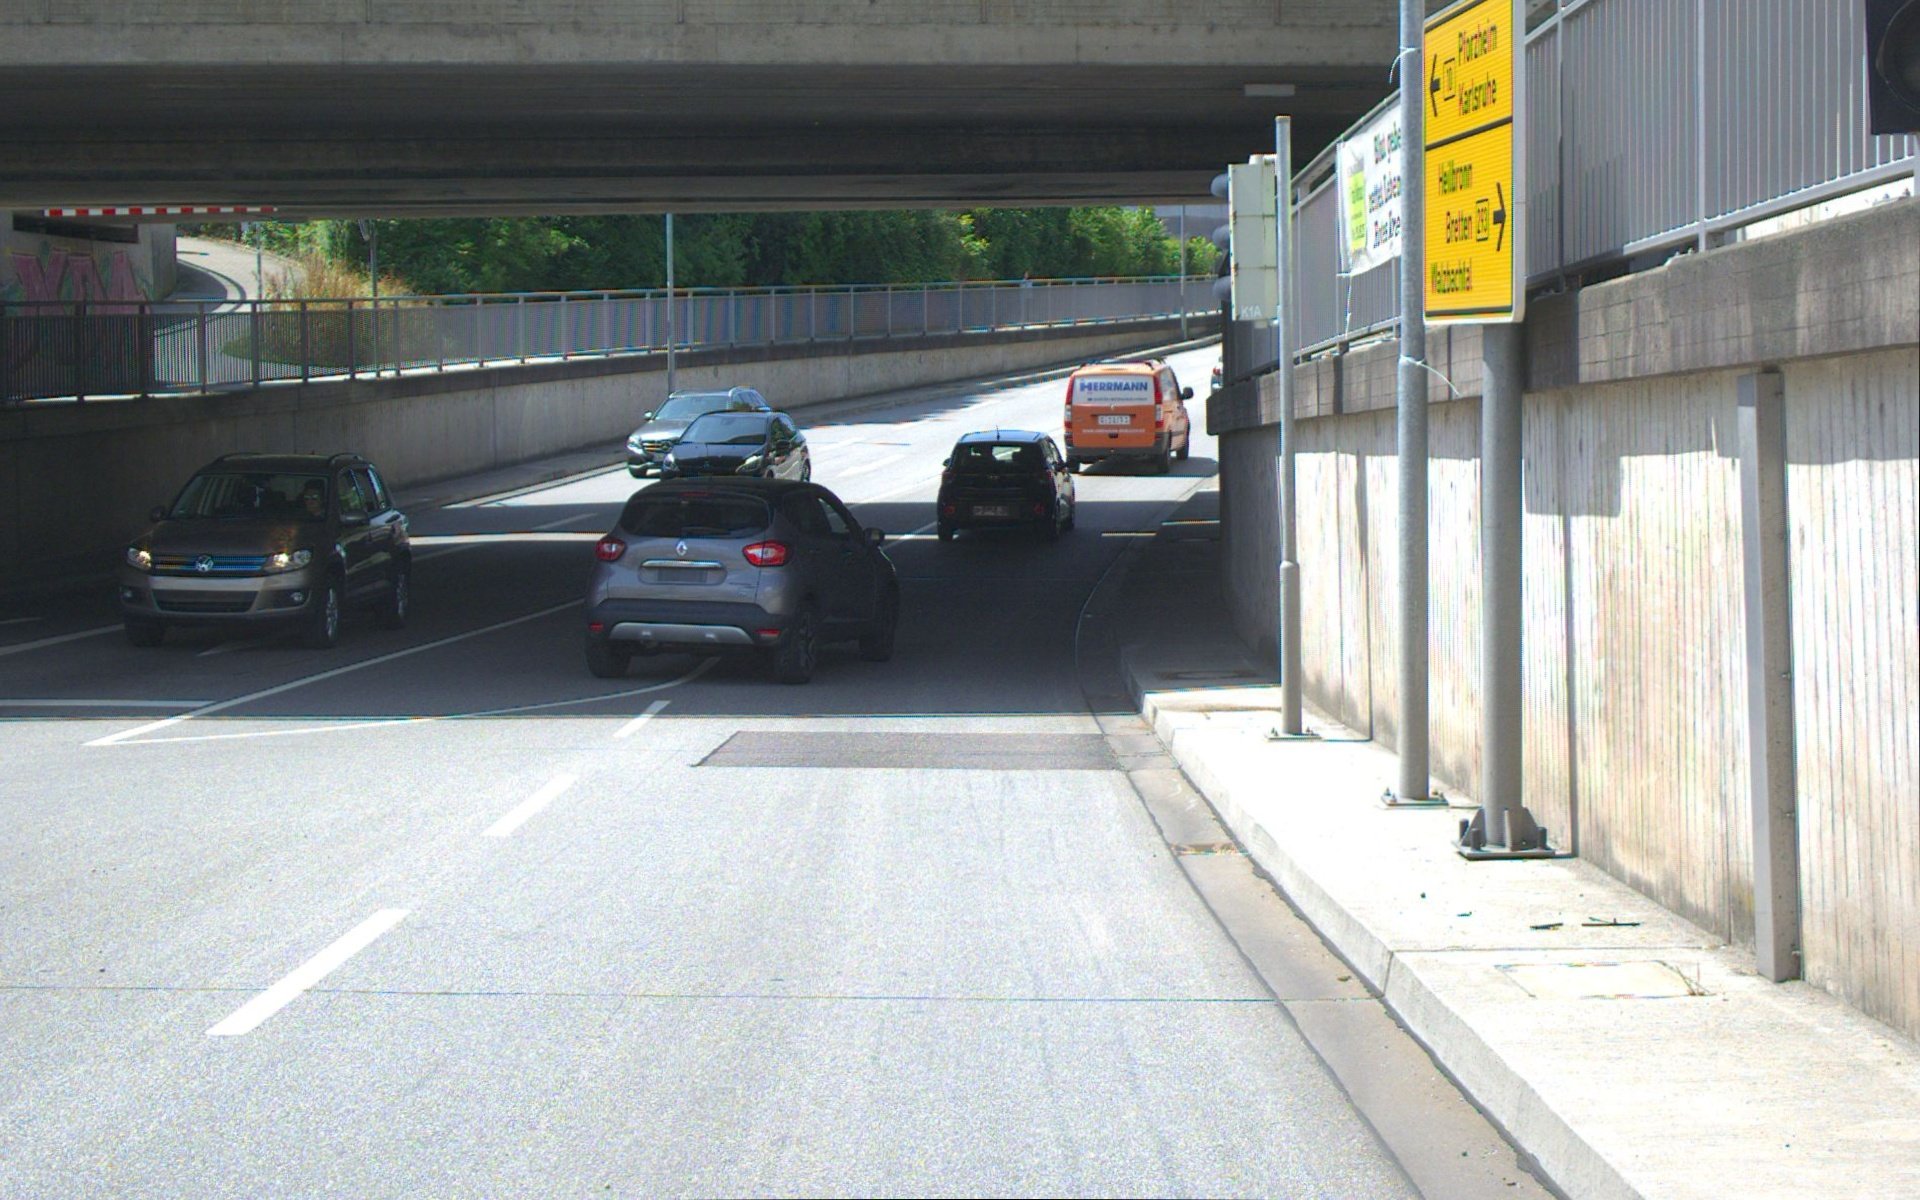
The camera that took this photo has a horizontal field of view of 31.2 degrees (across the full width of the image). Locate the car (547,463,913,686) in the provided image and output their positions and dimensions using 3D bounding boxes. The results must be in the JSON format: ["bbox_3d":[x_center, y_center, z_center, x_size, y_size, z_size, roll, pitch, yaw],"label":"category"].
[{"bbox_3d":[-1.777,-0.275,27.940,1.994,1.583,3.999,1,3,11],"label":"car"}]

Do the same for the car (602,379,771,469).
[{"bbox_3d":[-4.927,-3.214,62.460,1.994,1.583,3.999,1,3,12],"label":"car"}]

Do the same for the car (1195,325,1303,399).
[{"bbox_3d":[6.537,-5.345,77.441,1.805,1.612,3.998,1,3,14],"label":"car"}]

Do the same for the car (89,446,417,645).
[{"bbox_3d":[-6.296,-0.550,31.078,1.993,1.621,4.001,0,3,2],"label":"car"}]

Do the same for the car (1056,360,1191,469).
[{"bbox_3d":[3.031,-3.415,63.027,1.873,1.925,4.718,1,3,10],"label":"car"}]

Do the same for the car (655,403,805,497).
[{"bbox_3d":[-3.614,-2.421,54.711,1.782,1.431,4.000,0,3,5],"label":"car"}]

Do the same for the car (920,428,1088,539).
[{"bbox_3d":[0.670,-1.684,48.626,1.994,1.502,4.000,0,3,7],"label":"car"}]
